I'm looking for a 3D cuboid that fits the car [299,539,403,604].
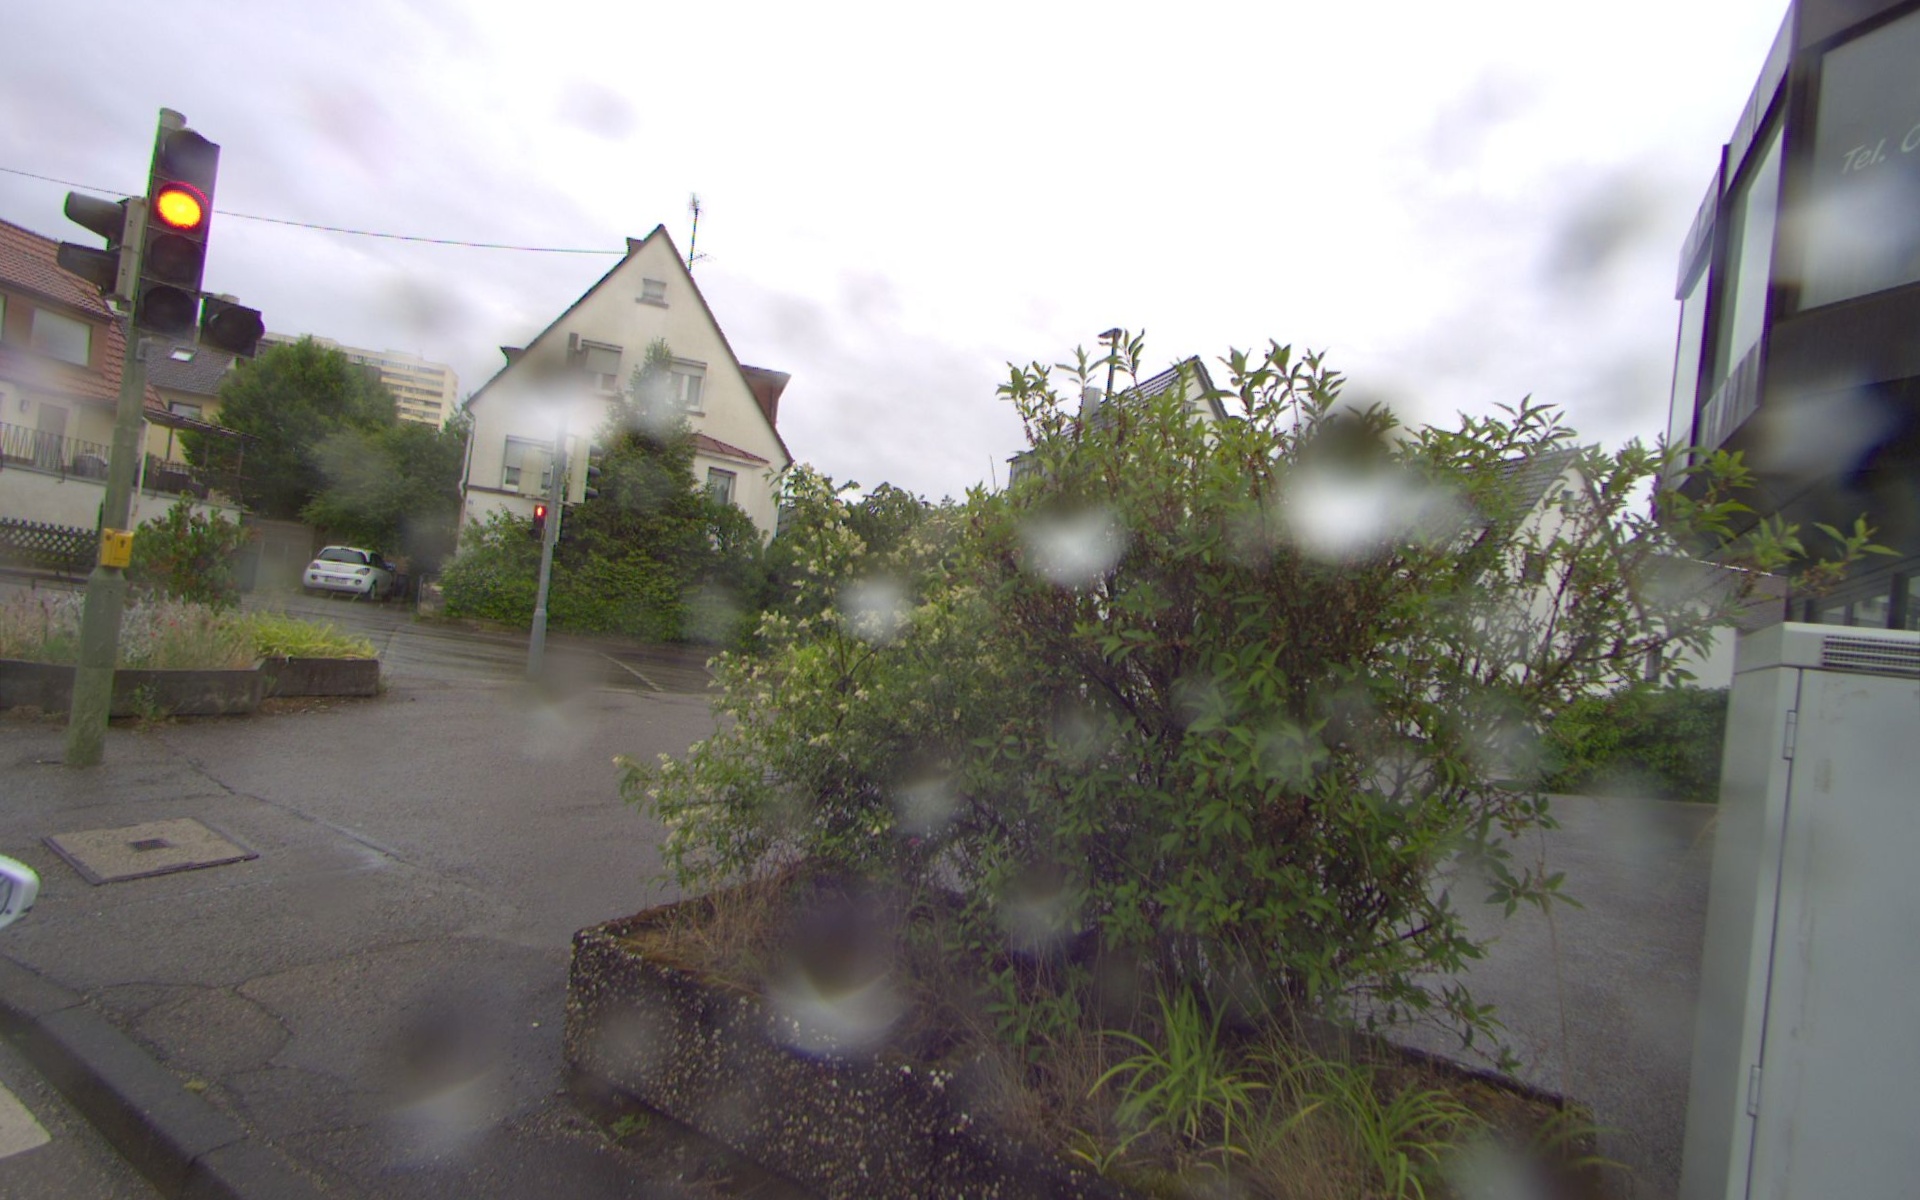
[{"bbox_3d":[-17.682,-0.803,29.372,1.722,1.532,3.982,9,-2,-21],"label":"car"}]
